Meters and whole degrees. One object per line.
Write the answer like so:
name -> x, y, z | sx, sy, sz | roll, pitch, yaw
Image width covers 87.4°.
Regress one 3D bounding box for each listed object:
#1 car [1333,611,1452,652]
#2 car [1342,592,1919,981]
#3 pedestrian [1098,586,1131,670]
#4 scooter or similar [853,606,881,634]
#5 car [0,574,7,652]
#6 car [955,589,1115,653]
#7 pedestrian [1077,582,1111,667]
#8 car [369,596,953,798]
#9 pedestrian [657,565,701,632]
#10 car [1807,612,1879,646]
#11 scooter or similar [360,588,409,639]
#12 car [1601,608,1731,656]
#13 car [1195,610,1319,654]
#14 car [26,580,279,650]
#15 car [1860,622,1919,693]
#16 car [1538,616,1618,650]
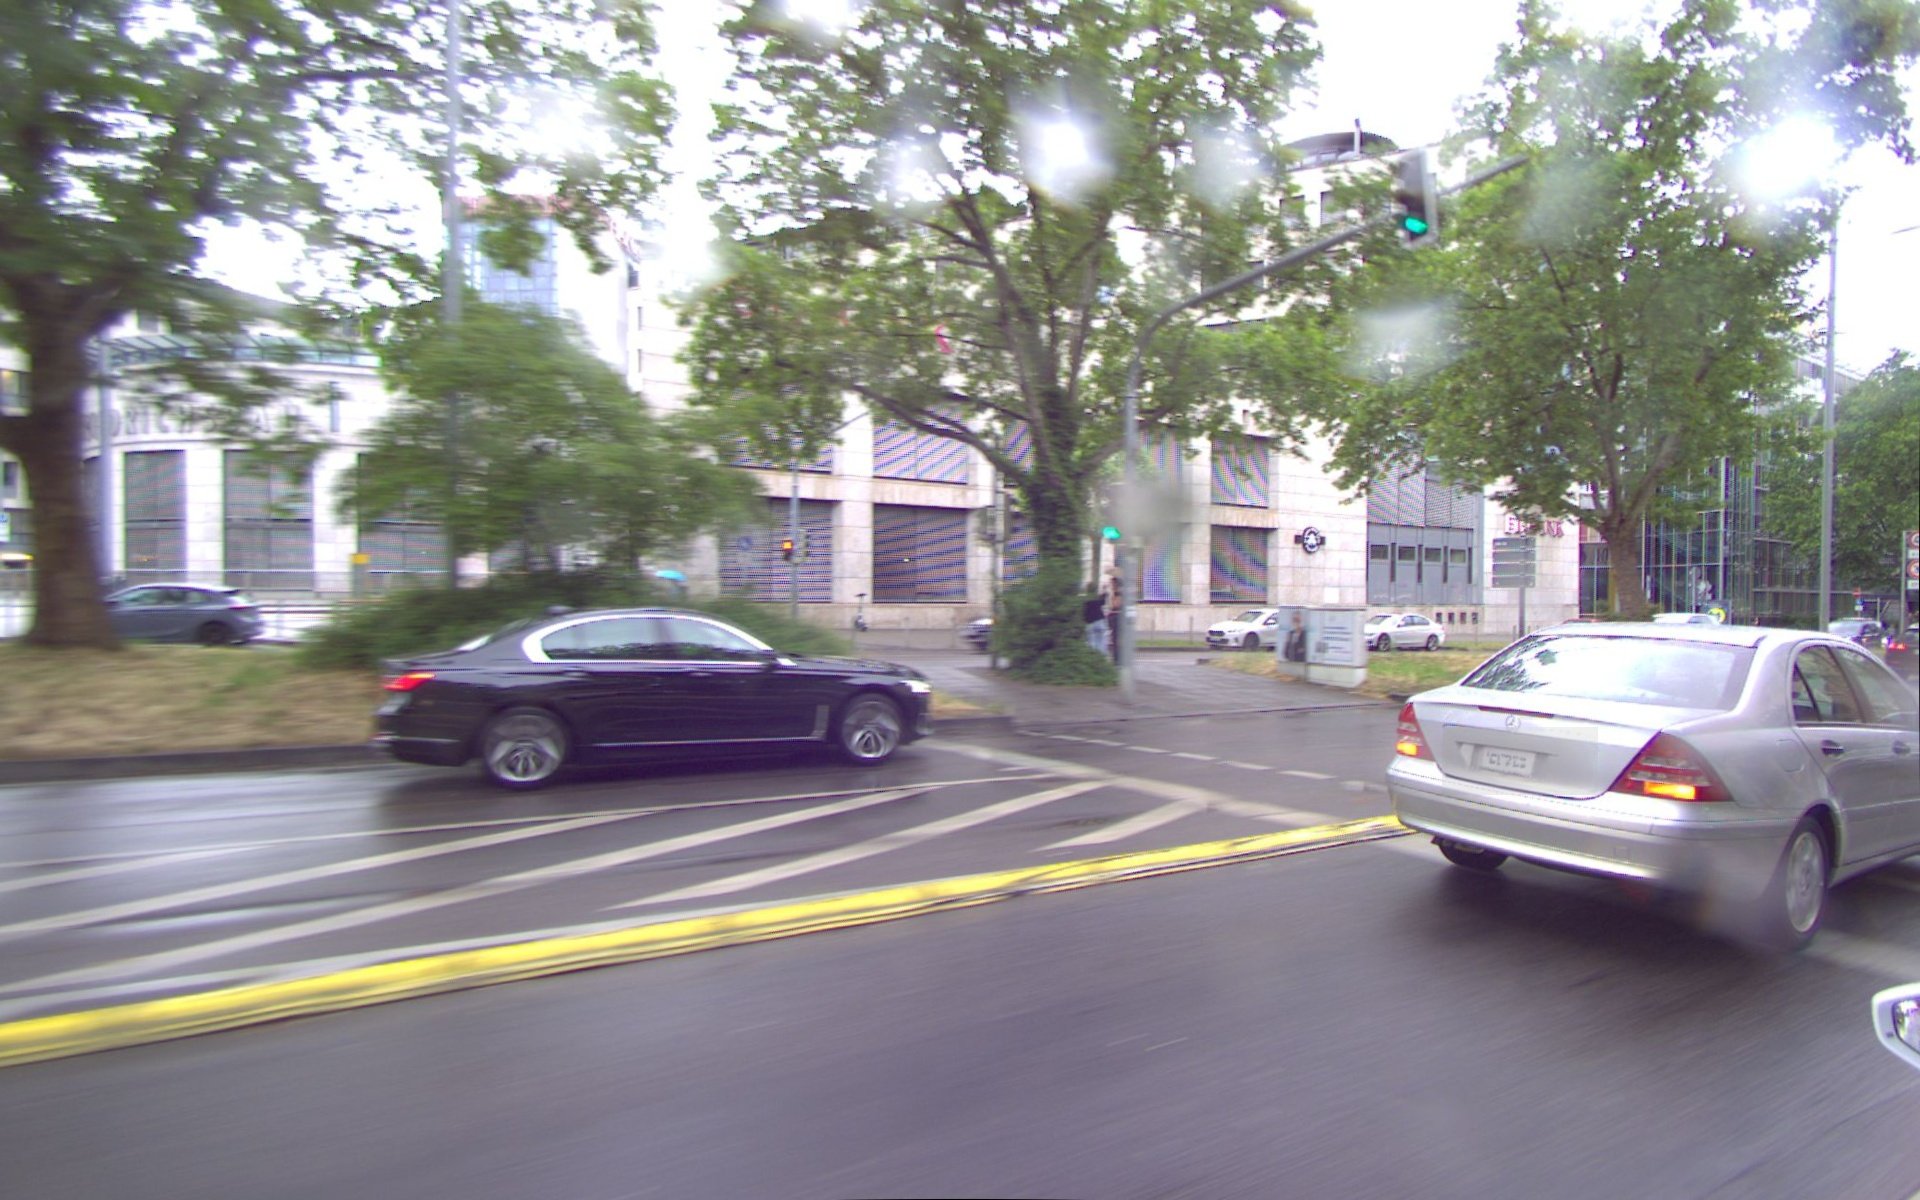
car -> 16.926, 1.239, 39.265 | 4.645, 1.434, 1.740 | 2, 0, -27
car -> 4.298, 0.771, 5.756 | 4.312, 1.499, 1.663 | 2, 0, -32
pedestrian -> 3.086, 0.551, 20.065 | 0.440, 1.636, 0.641 | 2, 1, 28
scooter or similar -> -3.317, 0.710, 35.702 | 0.345, 0.931, 1.408 | 0, 1, -33
car -> -22.414, 0.202, 19.889 | 4.663, 1.673, 1.988 | 2, 0, -25
car -> 2.154, 0.605, 28.628 | 4.238, 1.695, 1.731 | 2, 0, -27
pedestrian -> 2.635, 0.466, 19.747 | 0.544, 1.636, 0.425 | 2, 1, 19
car -> -2.637, 0.787, 9.420 | 4.813, 1.499, 1.866 | 2, 0, -26
pedestrian -> -8.414, -0.041, 30.053 | 1.113, 1.950, 0.584 | 1, 2, -32
car -> 46.435, 1.538, 52.811 | 4.048, 1.661, 1.820 | 2, 0, -33
scooter or similar -> -14.540, 0.326, 25.395 | 0.571, 1.202, 1.428 | 2, 2, -9
car -> 22.464, 1.014, 31.932 | 4.080, 1.383, 1.740 | 2, 0, -29
car -> 10.662, 1.136, 35.992 | 4.239, 1.434, 1.741 | 2, 0, -27
car -> -17.862, 0.347, 22.474 | 3.984, 1.400, 1.838 | 2, 0, -23
car -> 23.978, 1.399, 24.814 | 3.961, 1.600, 1.799 | 1, 1, -36
car -> 27.908, 1.494, 45.347 | 3.358, 1.434, 1.586 | 2, 0, -27
